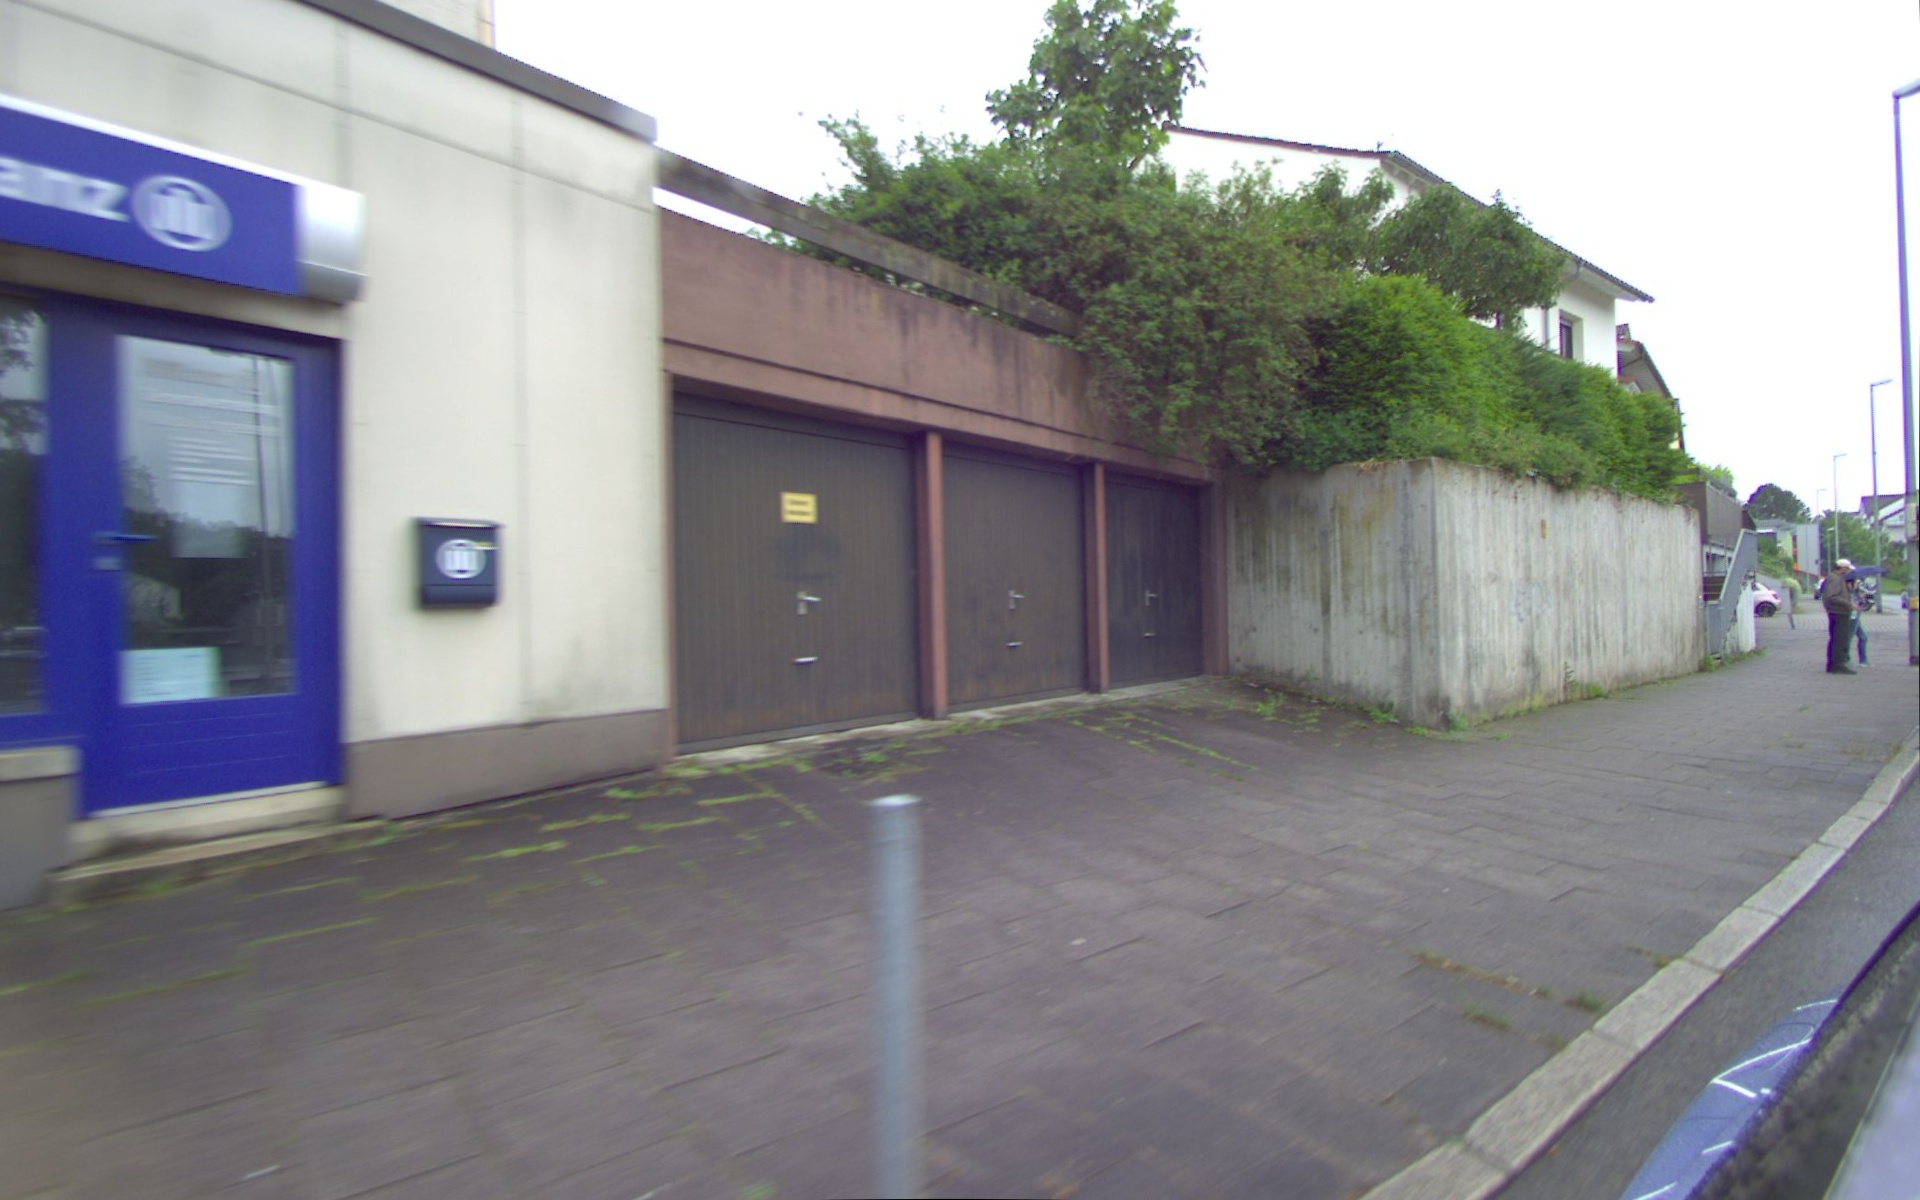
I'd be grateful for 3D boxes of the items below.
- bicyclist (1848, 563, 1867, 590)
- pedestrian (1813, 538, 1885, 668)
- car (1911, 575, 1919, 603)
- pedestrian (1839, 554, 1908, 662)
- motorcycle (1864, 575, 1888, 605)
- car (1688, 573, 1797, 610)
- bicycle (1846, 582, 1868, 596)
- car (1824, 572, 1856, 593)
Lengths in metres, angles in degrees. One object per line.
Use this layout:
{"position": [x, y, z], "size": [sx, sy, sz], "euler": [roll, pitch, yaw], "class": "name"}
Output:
{"position": [57.210, -1.500, 64.510], "size": [0.890, 1.663, 0.809], "euler": [-1, 1, -40], "class": "bicyclist"}
{"position": [14.494, 0.038, 16.504], "size": [0.722, 2.039, 0.798], "euler": [-1, 0, -43], "class": "pedestrian"}
{"position": [52.570, -0.577, 54.323], "size": [1.832, 1.500, 3.945], "euler": [1, 0, 38], "class": "car"}
{"position": [15.917, 0.112, 17.630], "size": [0.994, 1.802, 0.794], "euler": [-1, 2, -43], "class": "pedestrian"}
{"position": [43.332, -0.491, 47.908], "size": [0.691, 1.341, 2.444], "euler": [0, 1, 39], "class": "motorcycle"}
{"position": [33.427, -0.342, 43.358], "size": [3.621, 1.504, 1.789], "euler": [-1, 0, 37], "class": "car"}
{"position": [57.116, -0.720, 64.444], "size": [2.195, 0.837, 0.733], "euler": [-1, 1, -40], "class": "bicycle"}
{"position": [64.624, -1.288, 74.367], "size": [1.731, 1.508, 3.942], "euler": [1, 2, 41], "class": "car"}
